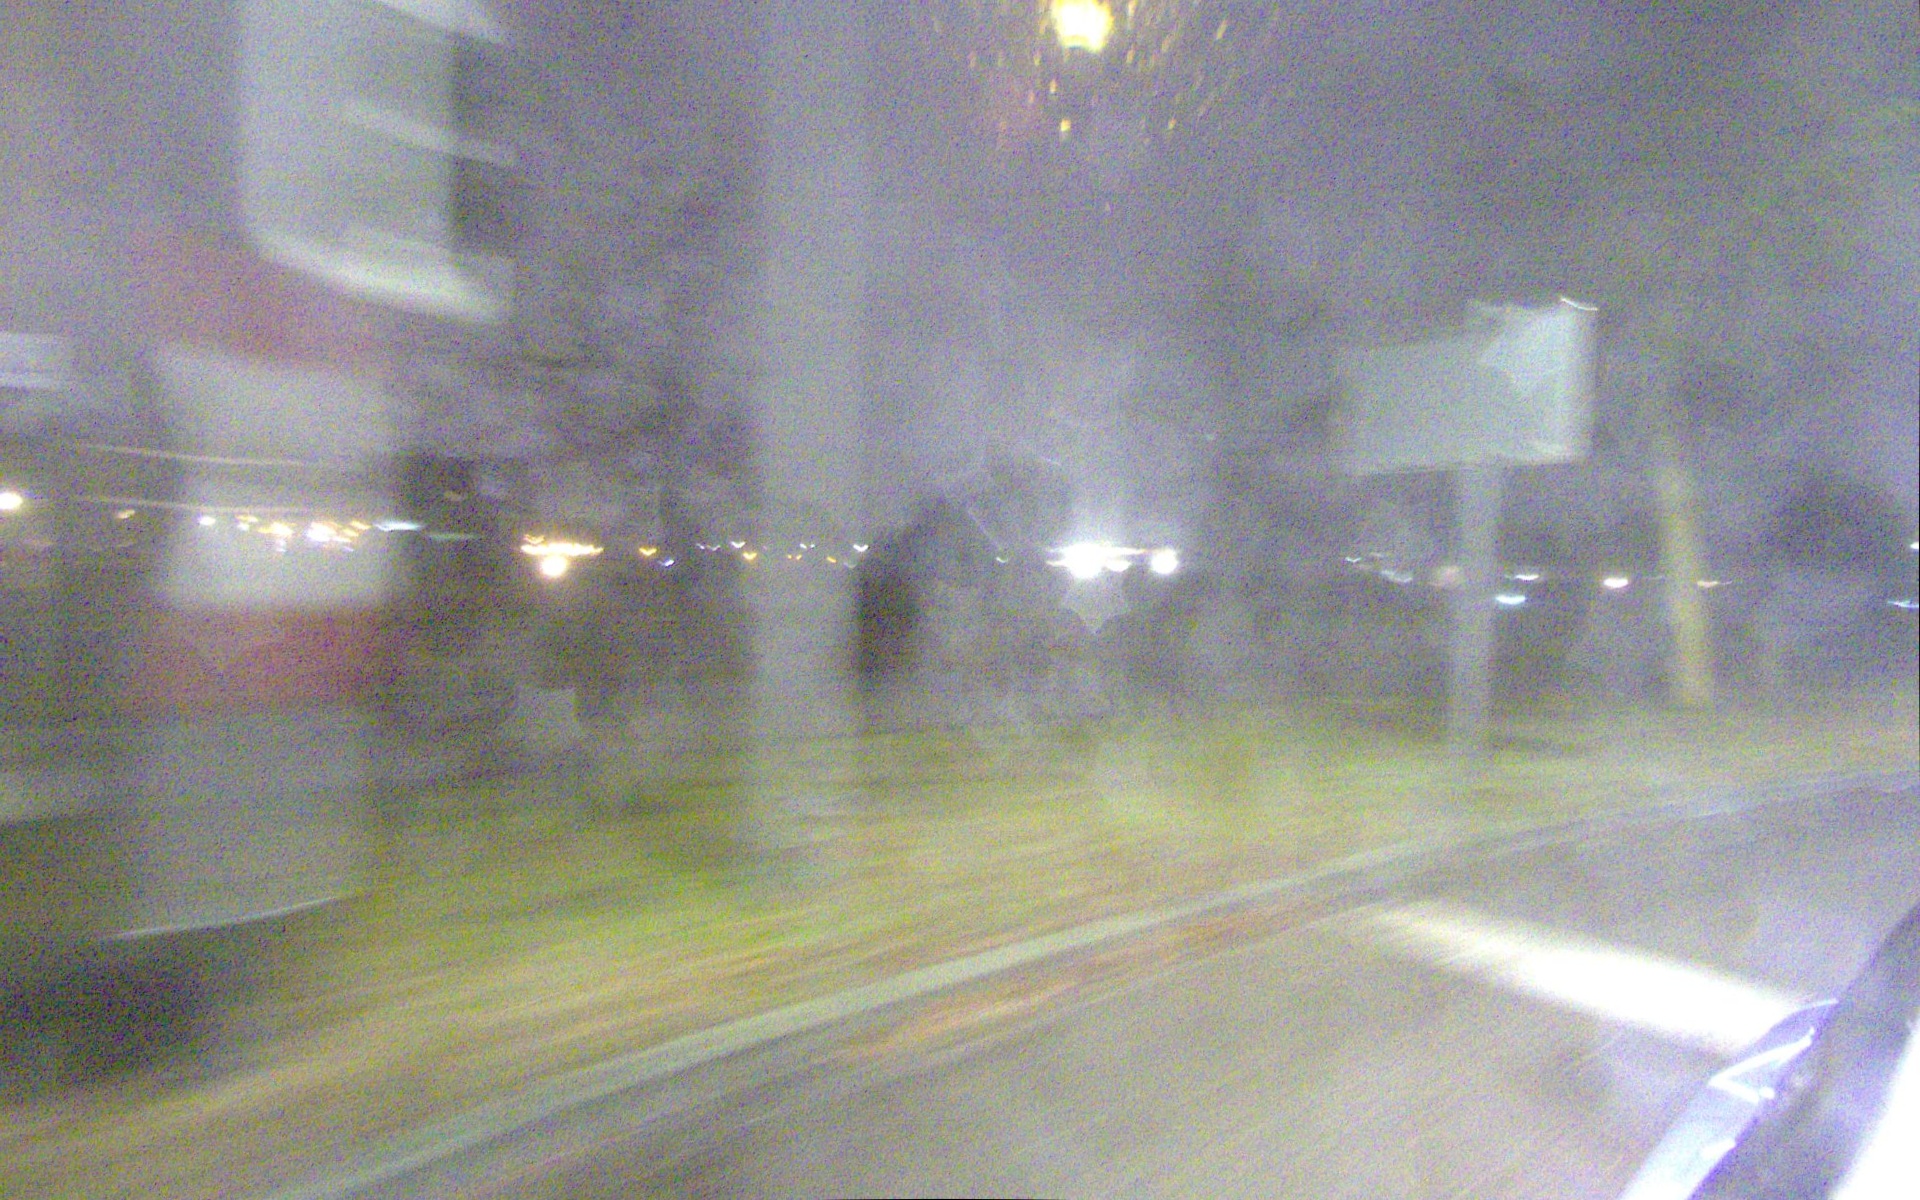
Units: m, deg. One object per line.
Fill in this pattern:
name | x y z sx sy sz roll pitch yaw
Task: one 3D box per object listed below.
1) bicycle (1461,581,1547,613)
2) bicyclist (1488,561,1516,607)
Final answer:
bicycle | 17.761 -0.128 33.116 0.610 0.989 2.420 0 1 -39
bicyclist | 17.744 -0.525 33.135 0.606 1.465 0.605 0 1 -40
